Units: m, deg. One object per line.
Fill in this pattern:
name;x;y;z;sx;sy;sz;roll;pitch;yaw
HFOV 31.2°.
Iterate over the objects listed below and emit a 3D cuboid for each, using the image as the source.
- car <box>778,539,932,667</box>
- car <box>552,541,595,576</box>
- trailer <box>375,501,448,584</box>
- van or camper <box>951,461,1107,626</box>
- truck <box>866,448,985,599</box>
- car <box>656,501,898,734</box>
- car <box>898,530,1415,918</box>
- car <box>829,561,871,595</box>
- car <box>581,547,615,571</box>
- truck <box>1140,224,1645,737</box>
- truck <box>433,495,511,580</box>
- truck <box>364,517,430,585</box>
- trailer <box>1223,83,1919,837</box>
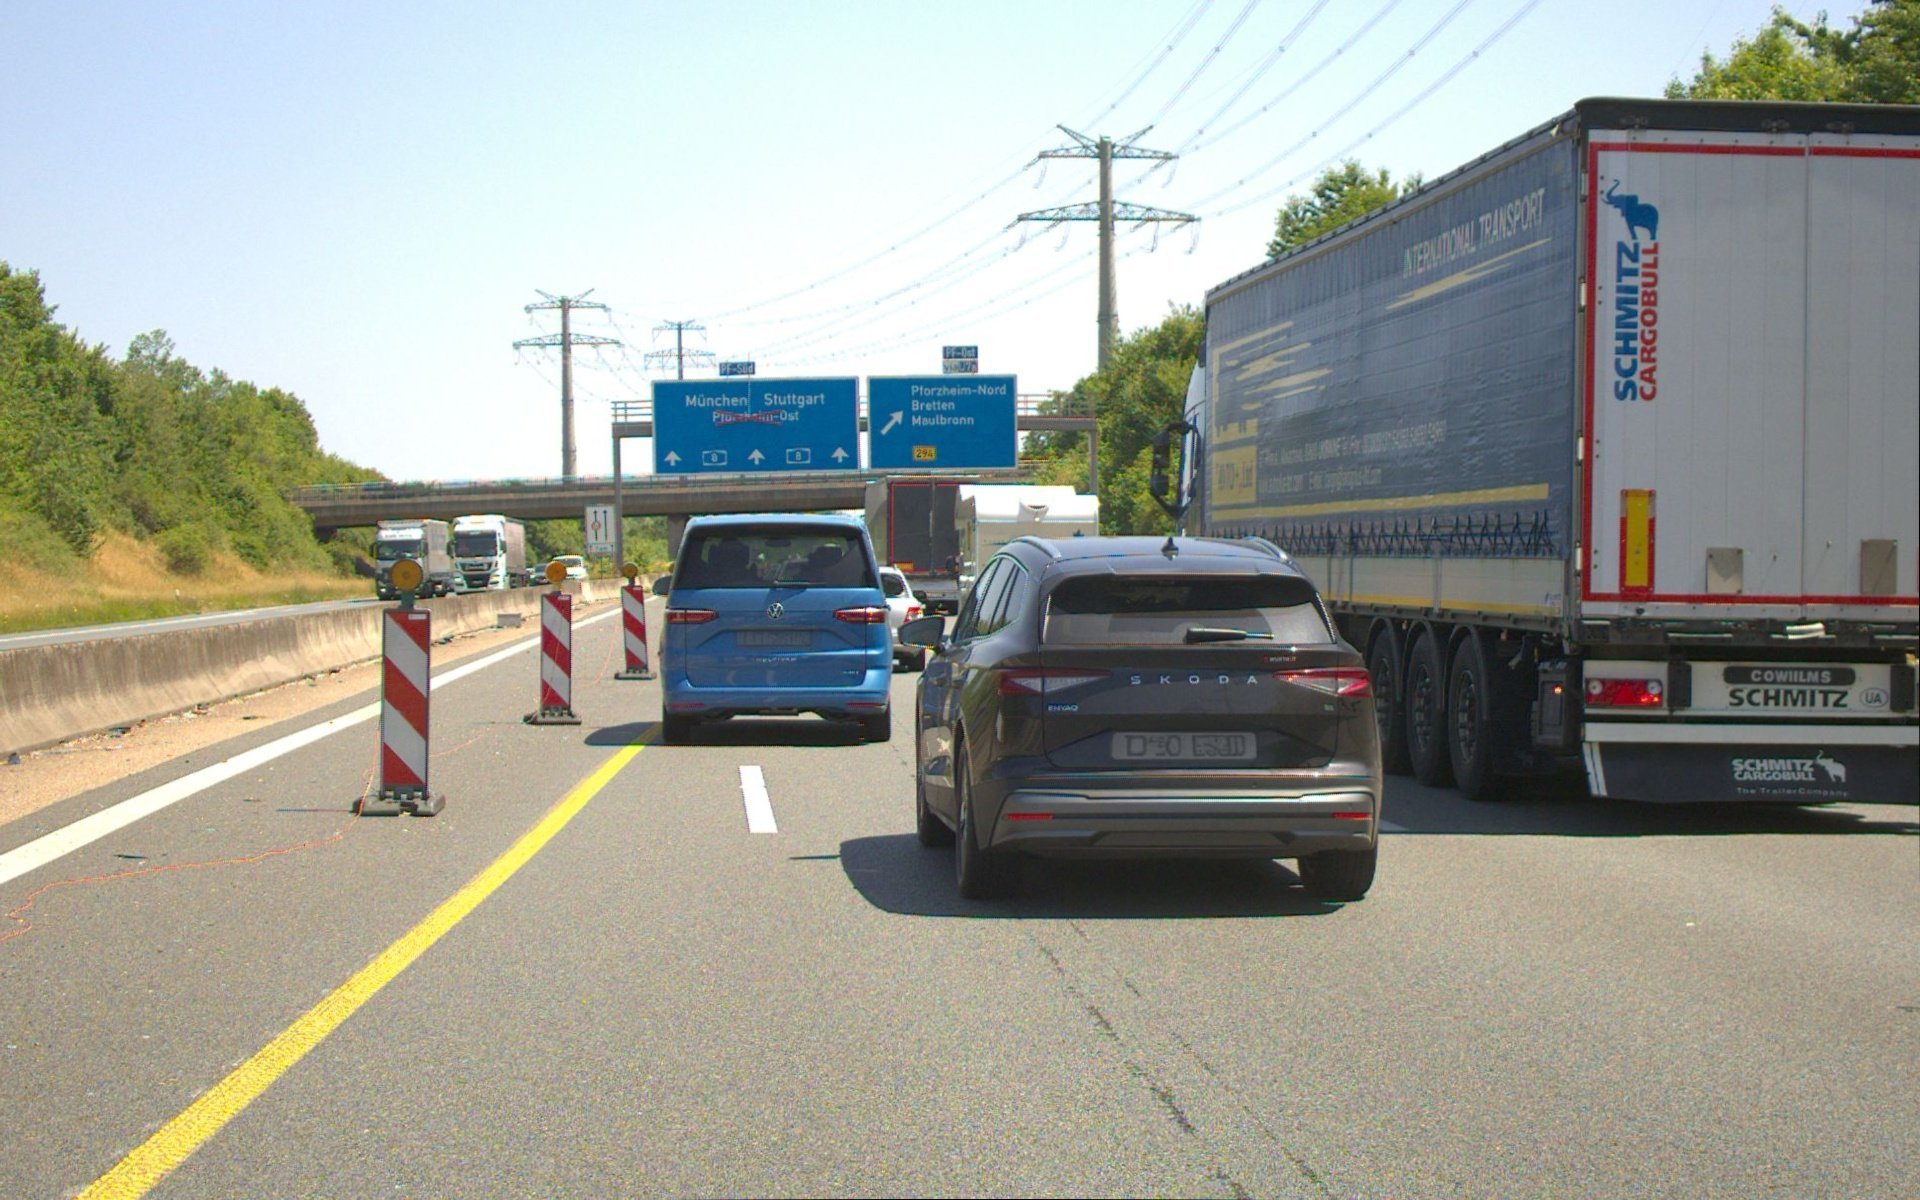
car;-1.501;-0.001;47.478;1.895;1.504;4.444;2;2;-4
car;-20.623;-2.239;183.546;1.866;1.786;5.455;-1;1;-3
trailer;-28.979;-3.038;182.094;2.480;4.165;12.087;-3;1;-4
van or camper;1.246;-1.079;65.617;2.586;2.958;6.085;-1;1;-2
truck;-1.122;-2.198;101.549;3.077;4.132;13.055;1;1;-2
car;-1.617;0.141;29.592;1.895;1.835;4.443;1;0;-4
car;0.777;0.463;16.386;1.895;1.586;4.443;0;1;-4
car;-5.648;-1.136;176.165;1.895;1.504;4.444;2;2;-4
car;-22.549;-2.573;214.195;1.762;1.466;4.634;-1;1;-2
truck;3.659;-1.013;31.307;3.024;4.073;7.797;0;1;-5
truck;-25.052;-3.186;176.813;3.163;4.210;7.416;1;1;-2
truck;-28.512;-2.479;174.261;2.464;3.277;6.925;-3;1;-4
trailer;4.278;-0.843;24.209;3.064;4.029;11.490;0;1;-5
